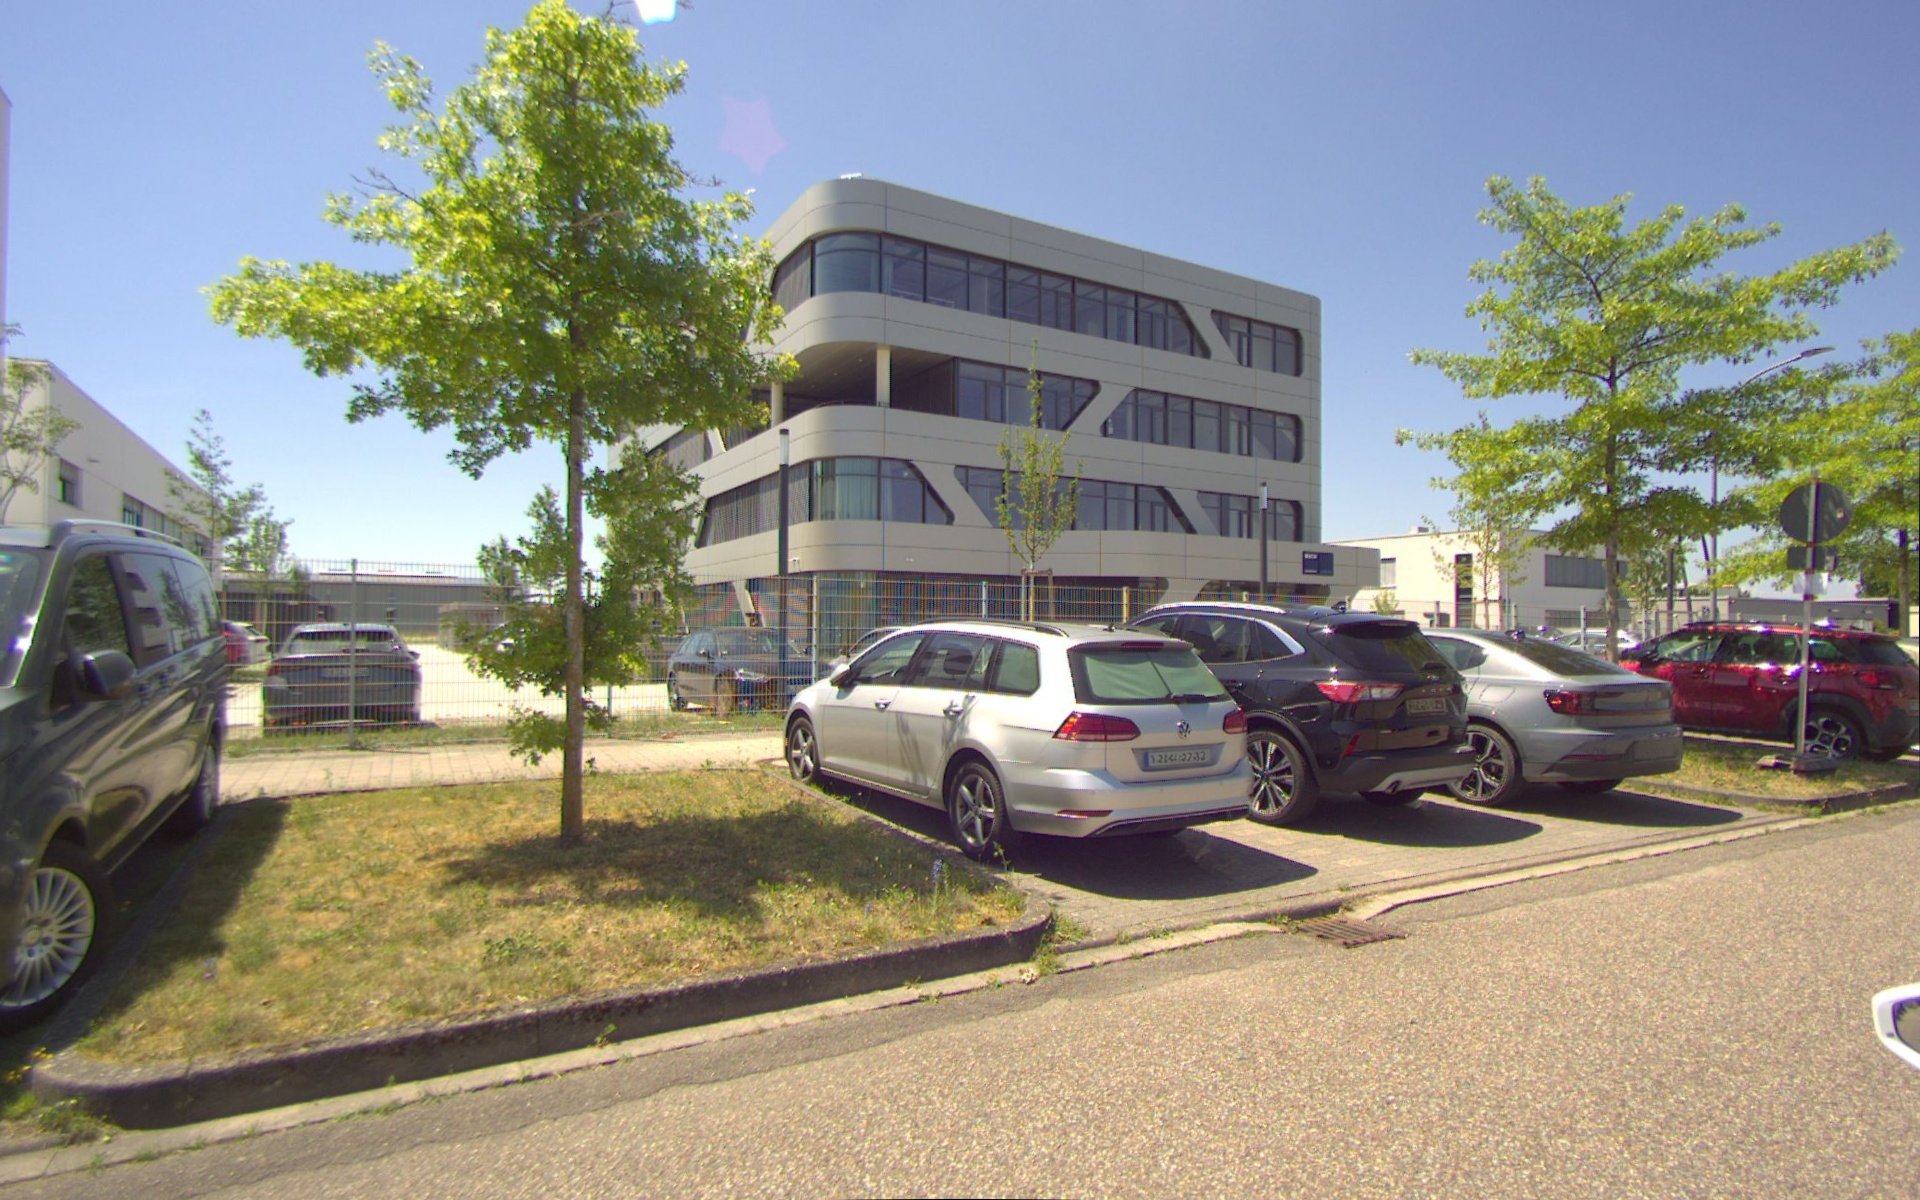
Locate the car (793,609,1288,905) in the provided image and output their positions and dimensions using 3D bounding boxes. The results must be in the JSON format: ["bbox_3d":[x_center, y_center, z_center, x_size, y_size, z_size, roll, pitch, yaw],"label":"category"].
[{"bbox_3d":[0.284,0.868,7.477,1.587,1.480,4.014,1,0,-32],"label":"car"}]

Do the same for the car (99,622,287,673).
[{"bbox_3d":[-21.750,1.373,28.715,3.954,1.243,1.984,5,-4,-30],"label":"car"}]

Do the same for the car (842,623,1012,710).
[{"bbox_3d":[-0.699,1.159,18.205,1.658,1.409,3.463,1,-3,-30],"label":"car"}]

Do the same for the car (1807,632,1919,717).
[{"bbox_3d":[18.009,1.372,17.932,1.854,1.443,4.051,1,0,-33],"label":"car"}]

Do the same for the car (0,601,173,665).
[{"bbox_3d":[-18.912,0.686,20.684,3.953,1.244,1.984,2,-3,-30],"label":"car"}]

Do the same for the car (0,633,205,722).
[{"bbox_3d":[-14.246,1.159,15.408,3.954,1.243,1.984,5,-4,-30],"label":"car"}]

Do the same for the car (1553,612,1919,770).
[{"bbox_3d":[10.039,1.027,12.958,1.794,1.643,3.721,1,0,-29],"label":"car"}]

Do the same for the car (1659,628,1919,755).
[{"bbox_3d":[12.310,1.215,14.184,1.713,1.528,3.635,1,0,-33],"label":"car"}]

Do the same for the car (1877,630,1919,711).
[{"bbox_3d":[20.077,1.415,18.839,1.765,1.541,3.905,2,0,-32],"label":"car"}]

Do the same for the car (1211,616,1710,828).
[{"bbox_3d":[4.582,0.976,9.898,1.692,1.500,4.175,1,0,-29],"label":"car"}]

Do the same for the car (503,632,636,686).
[{"bbox_3d":[-13.153,1.952,33.852,3.953,1.739,1.984,1,-3,-30],"label":"car"}]

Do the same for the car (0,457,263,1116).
[{"bbox_3d":[-4.761,0.530,4.573,1.972,1.917,5.049,1,0,-28],"label":"car"}]

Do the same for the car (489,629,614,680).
[{"bbox_3d":[-14.779,1.939,36.363,3.953,1.739,1.984,1,-3,-30],"label":"car"}]

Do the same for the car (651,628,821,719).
[{"bbox_3d":[-3.626,1.153,15.819,1.658,1.254,3.464,1,-5,-30],"label":"car"}]

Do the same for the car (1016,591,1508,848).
[{"bbox_3d":[2.403,0.812,8.936,1.759,1.701,3.962,1,0,-34],"label":"car"}]

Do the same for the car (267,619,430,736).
[{"bbox_3d":[-8.417,1.062,13.812,1.660,1.349,3.966,1,-5,-33],"label":"car"}]
